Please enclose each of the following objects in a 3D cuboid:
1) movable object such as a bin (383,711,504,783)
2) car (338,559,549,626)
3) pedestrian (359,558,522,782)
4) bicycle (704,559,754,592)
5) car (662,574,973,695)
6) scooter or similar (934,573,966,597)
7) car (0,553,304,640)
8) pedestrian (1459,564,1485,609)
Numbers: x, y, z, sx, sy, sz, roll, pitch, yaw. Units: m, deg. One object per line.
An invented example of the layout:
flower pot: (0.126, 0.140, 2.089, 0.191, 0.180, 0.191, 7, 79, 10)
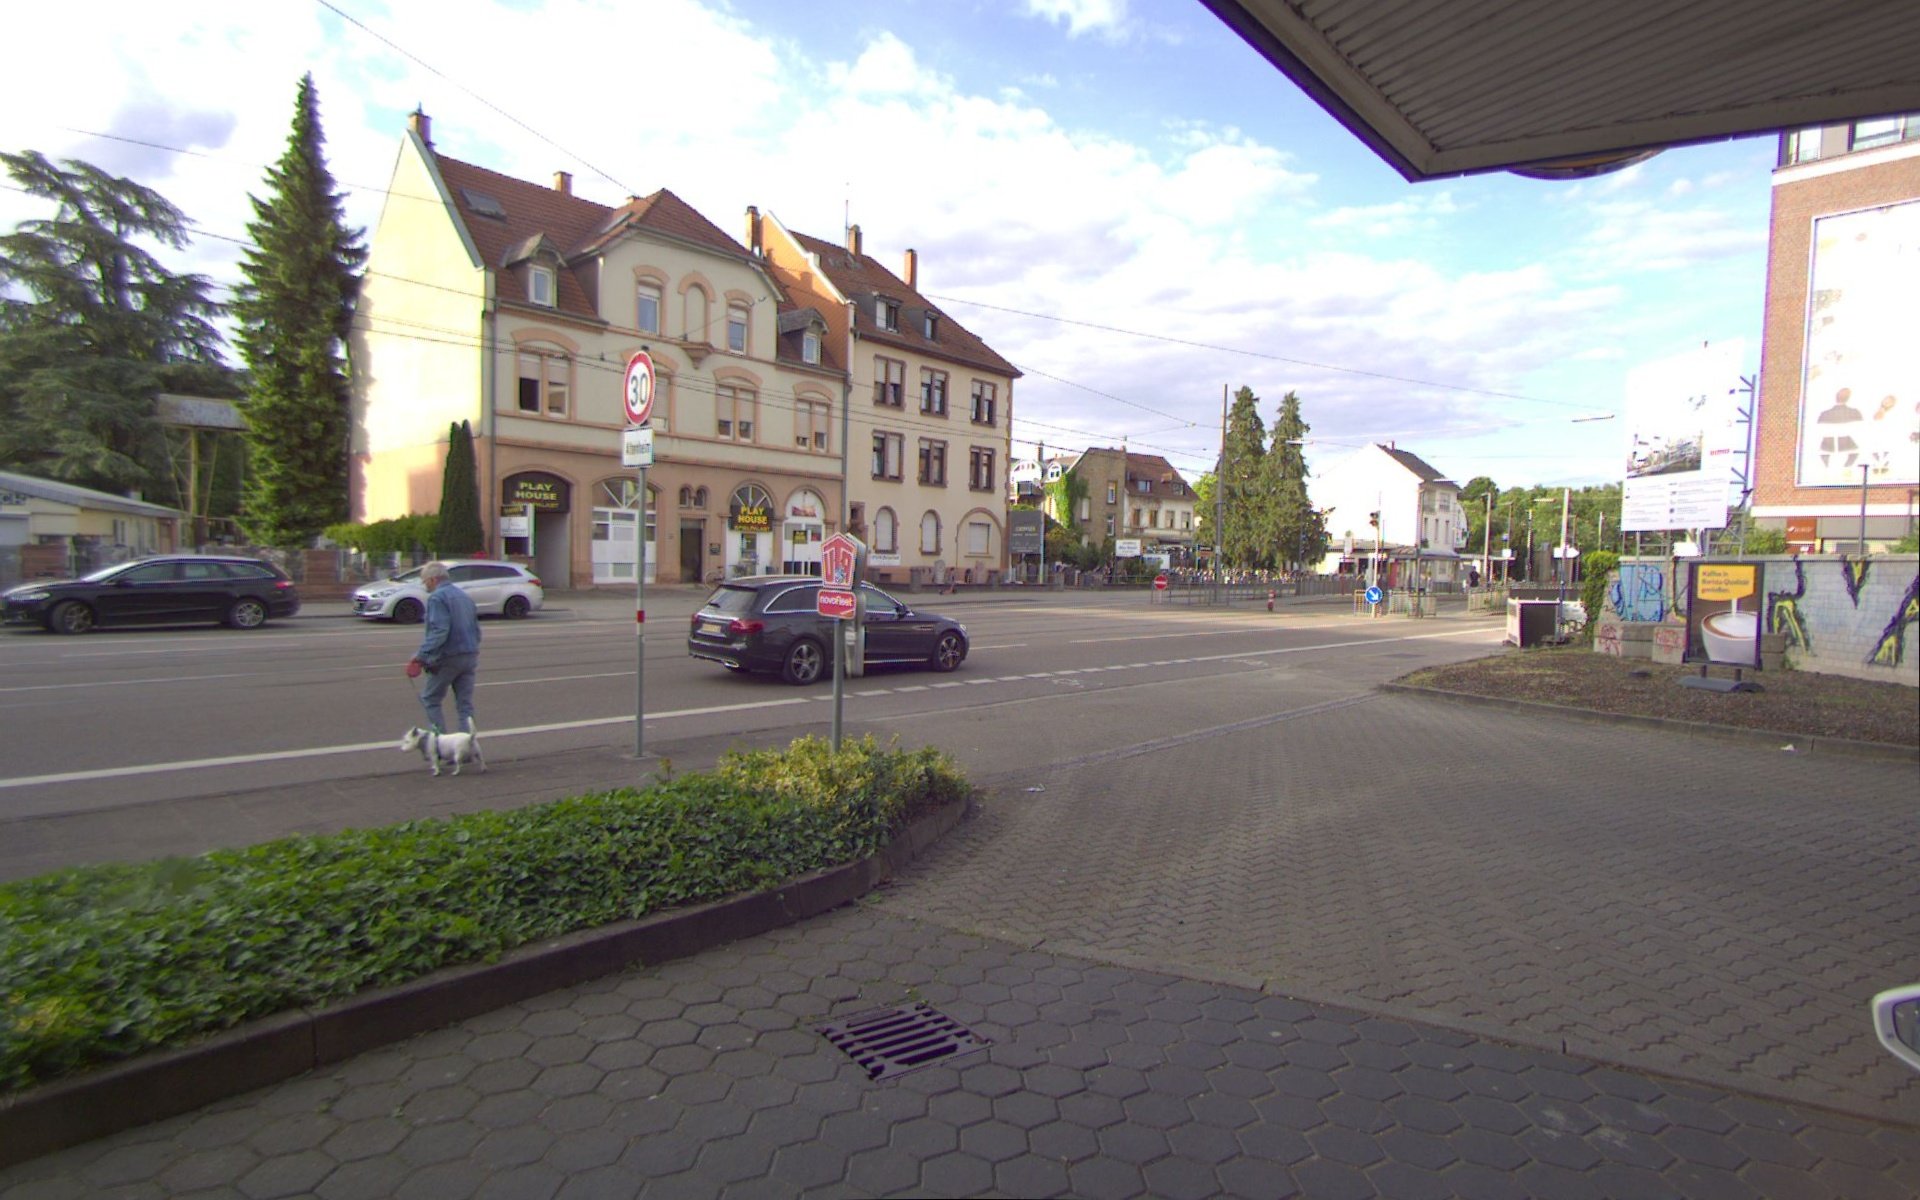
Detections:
movable object such as a bin: (-3.903, 1.104, 7.617, 0.666, 0.426, 0.481, 2, 4, 3)
car: (-12.921, -0.234, 25.355, 1.699, 1.503, 4.434, 4, 4, 40)
pedestrian: (-4.333, 0.519, 8.375, 0.996, 1.690, 0.959, -2, 5, -42)
bicycle: (-9.108, -0.954, 39.609, 0.665, 1.229, 1.862, 4, 2, 41)
car: (-1.984, 0.410, 15.110, 1.730, 1.488, 4.543, 4, 3, 43)
scooter or similar: (-0.437, -0.664, 45.110, 0.461, 1.041, 1.655, 4, 3, 40)
car: (-16.602, -0.138, 20.733, 1.983, 1.520, 4.755, 4, 4, 39)
pedestrian: (23.965, -0.633, 47.033, 0.845, 2.040, 0.798, 2, 0, -44)
